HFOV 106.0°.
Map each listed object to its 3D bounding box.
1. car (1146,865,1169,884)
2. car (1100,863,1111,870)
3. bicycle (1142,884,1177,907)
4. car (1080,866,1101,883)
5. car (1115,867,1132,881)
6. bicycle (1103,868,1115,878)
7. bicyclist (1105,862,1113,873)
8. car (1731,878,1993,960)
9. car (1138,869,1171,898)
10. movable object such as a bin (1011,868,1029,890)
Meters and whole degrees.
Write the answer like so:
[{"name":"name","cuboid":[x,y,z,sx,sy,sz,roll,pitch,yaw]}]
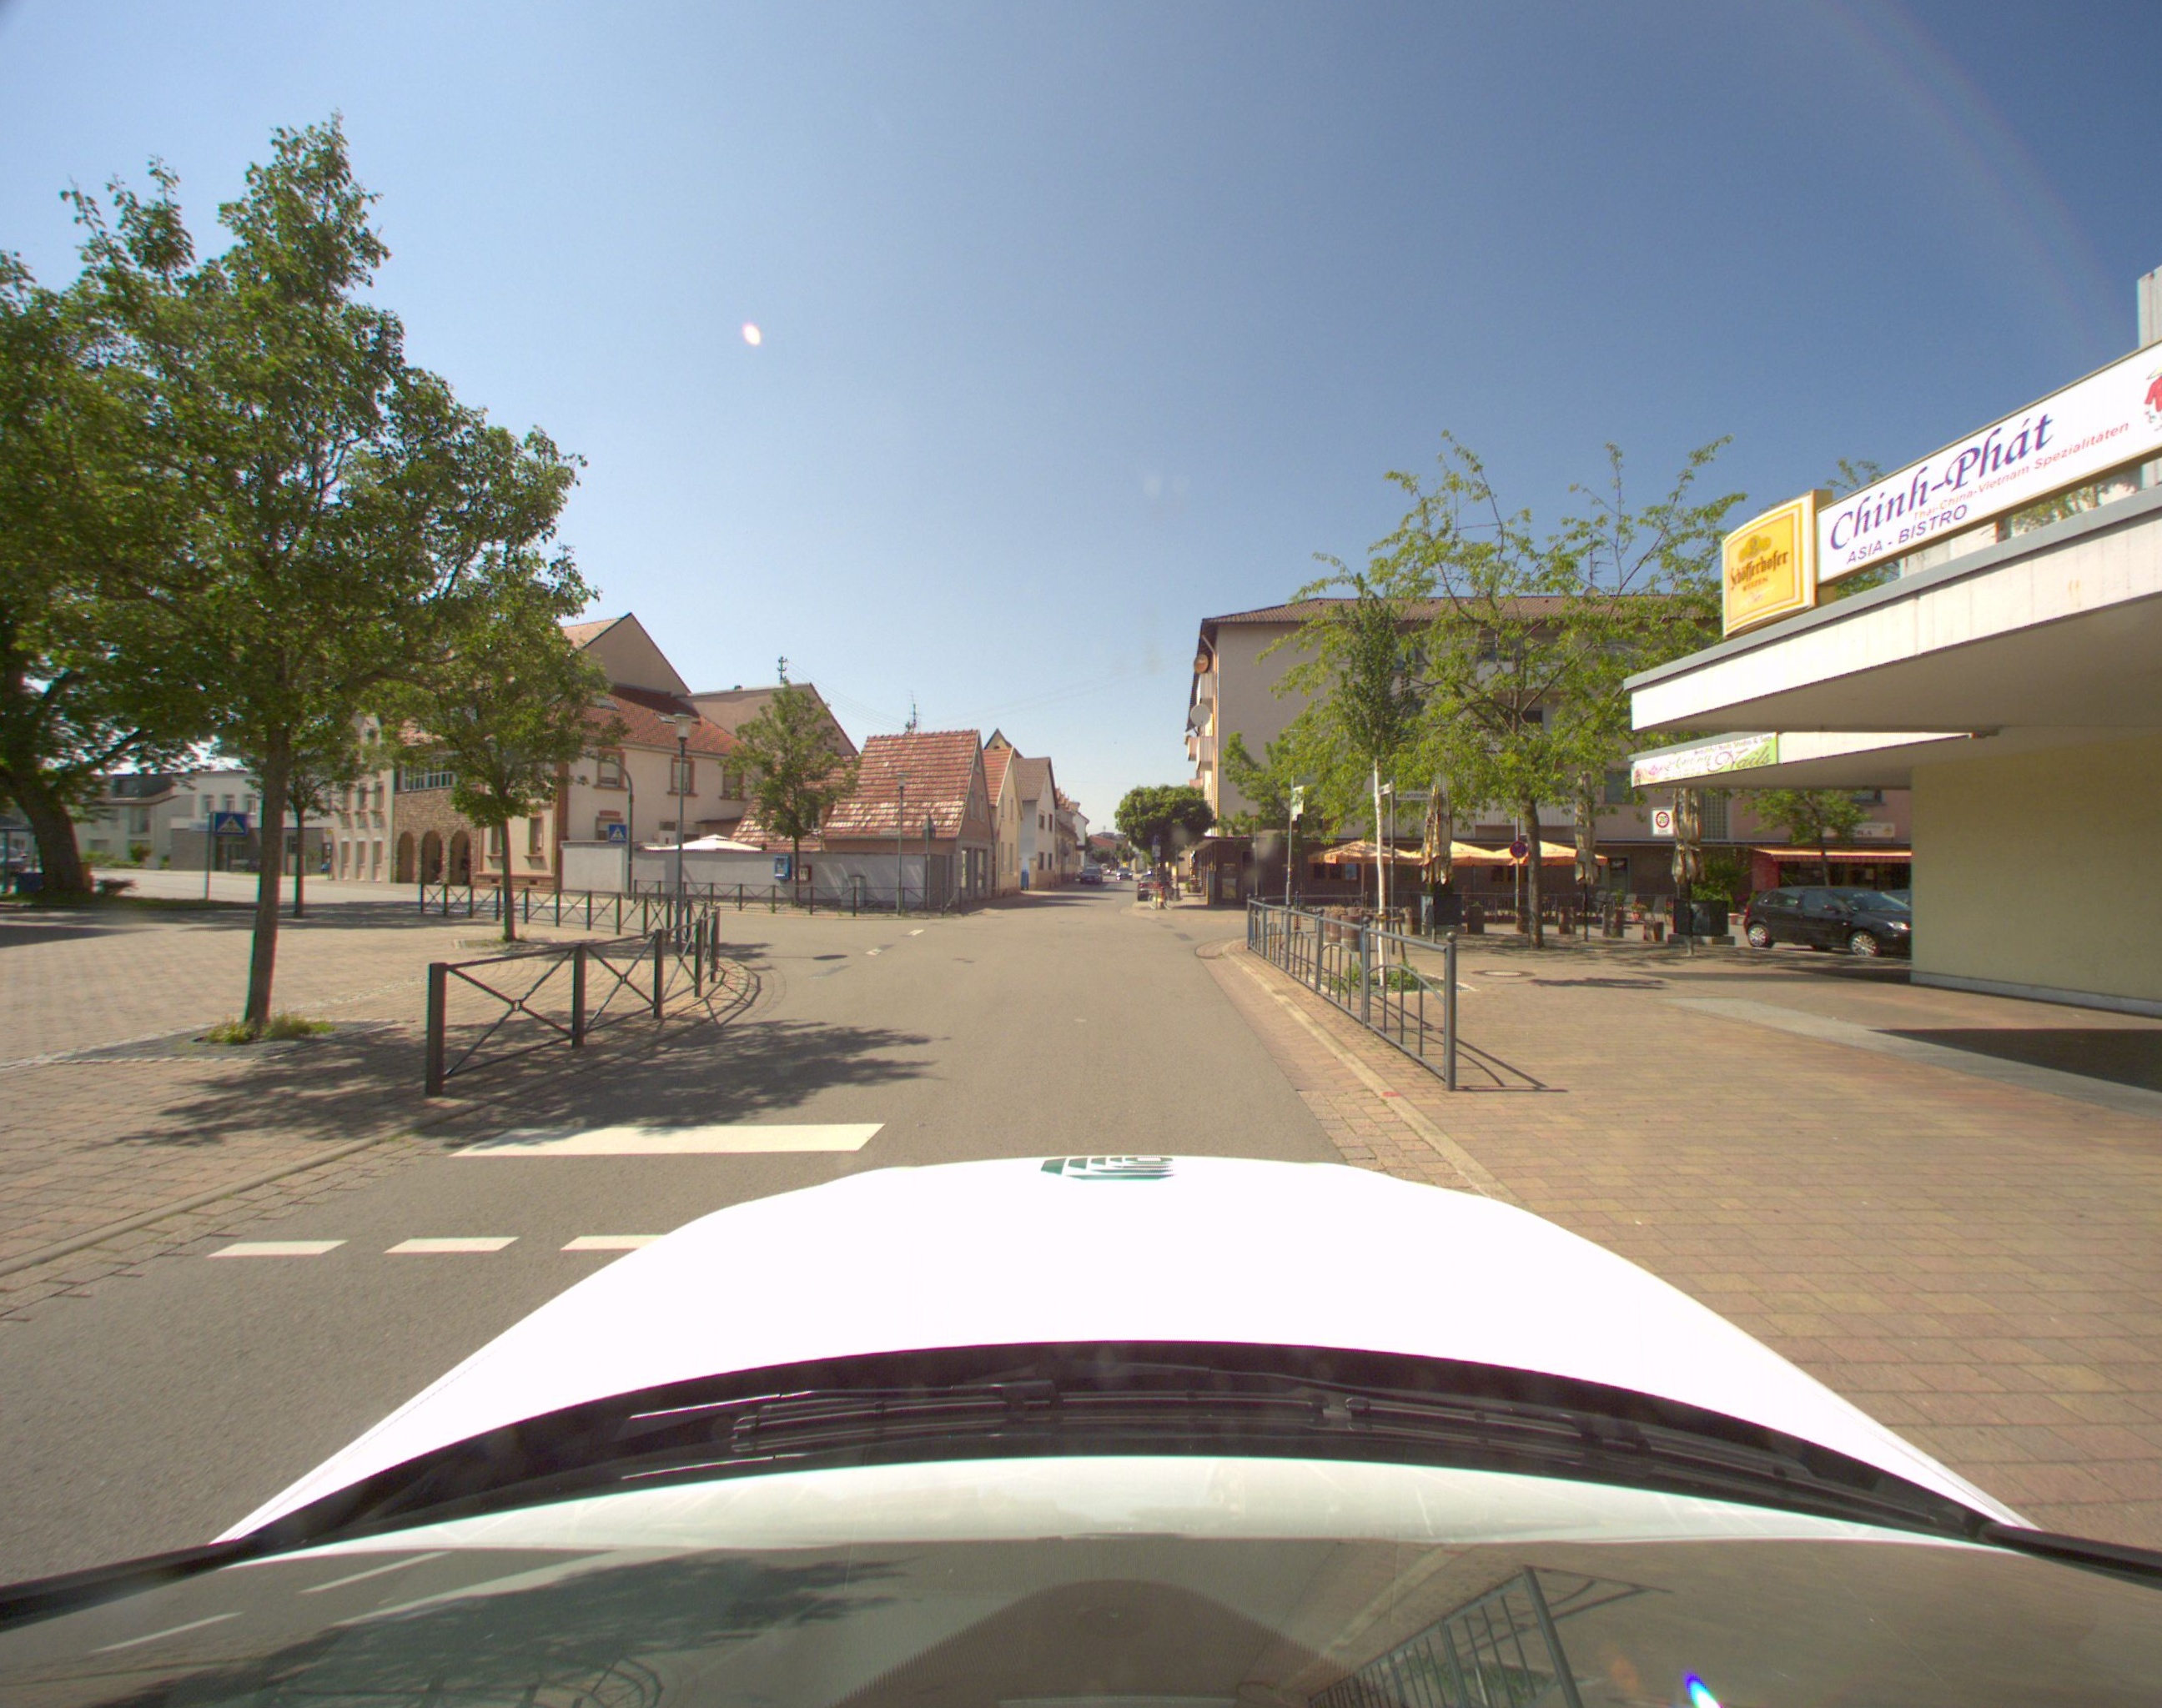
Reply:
[{"name":"car","cuboid":[7.146,1.869,75.775,2.033,1.689,4.848,0,-1,5]},{"name":"car","cuboid":[5.743,2.915,190.125,2.015,1.598,4.520,0,-1,9]},{"name":"bicycle","cuboid":[3.219,1.706,33.398,1.396,0.897,0.468,-2,-1,42]},{"name":"car","cuboid":[0.904,1.805,73.416,1.655,1.476,4.139,0,-1,4]},{"name":"car","cuboid":[4.779,2.216,90.901,1.901,1.481,4.847,0,-2,3]},{"name":"bicycle","cuboid":[3.990,2.722,117.417,1.619,1.371,3.924,0,-1,-1]},{"name":"bicyclist","cuboid":[4.027,1.947,117.612,1.043,1.637,1.128,0,-1,-1]},{"name":"car","cuboid":[16.347,1.286,17.372,1.761,1.510,3.969,1,-2,-1]},{"name":"car","cuboid":[3.824,1.495,42.022,1.567,1.454,3.492,0,-1,7]},{"name":"movable object such as a bin","cuboid":[-3.901,1.594,52.292,1.095,1.366,0.390,0,-1,8]}]
